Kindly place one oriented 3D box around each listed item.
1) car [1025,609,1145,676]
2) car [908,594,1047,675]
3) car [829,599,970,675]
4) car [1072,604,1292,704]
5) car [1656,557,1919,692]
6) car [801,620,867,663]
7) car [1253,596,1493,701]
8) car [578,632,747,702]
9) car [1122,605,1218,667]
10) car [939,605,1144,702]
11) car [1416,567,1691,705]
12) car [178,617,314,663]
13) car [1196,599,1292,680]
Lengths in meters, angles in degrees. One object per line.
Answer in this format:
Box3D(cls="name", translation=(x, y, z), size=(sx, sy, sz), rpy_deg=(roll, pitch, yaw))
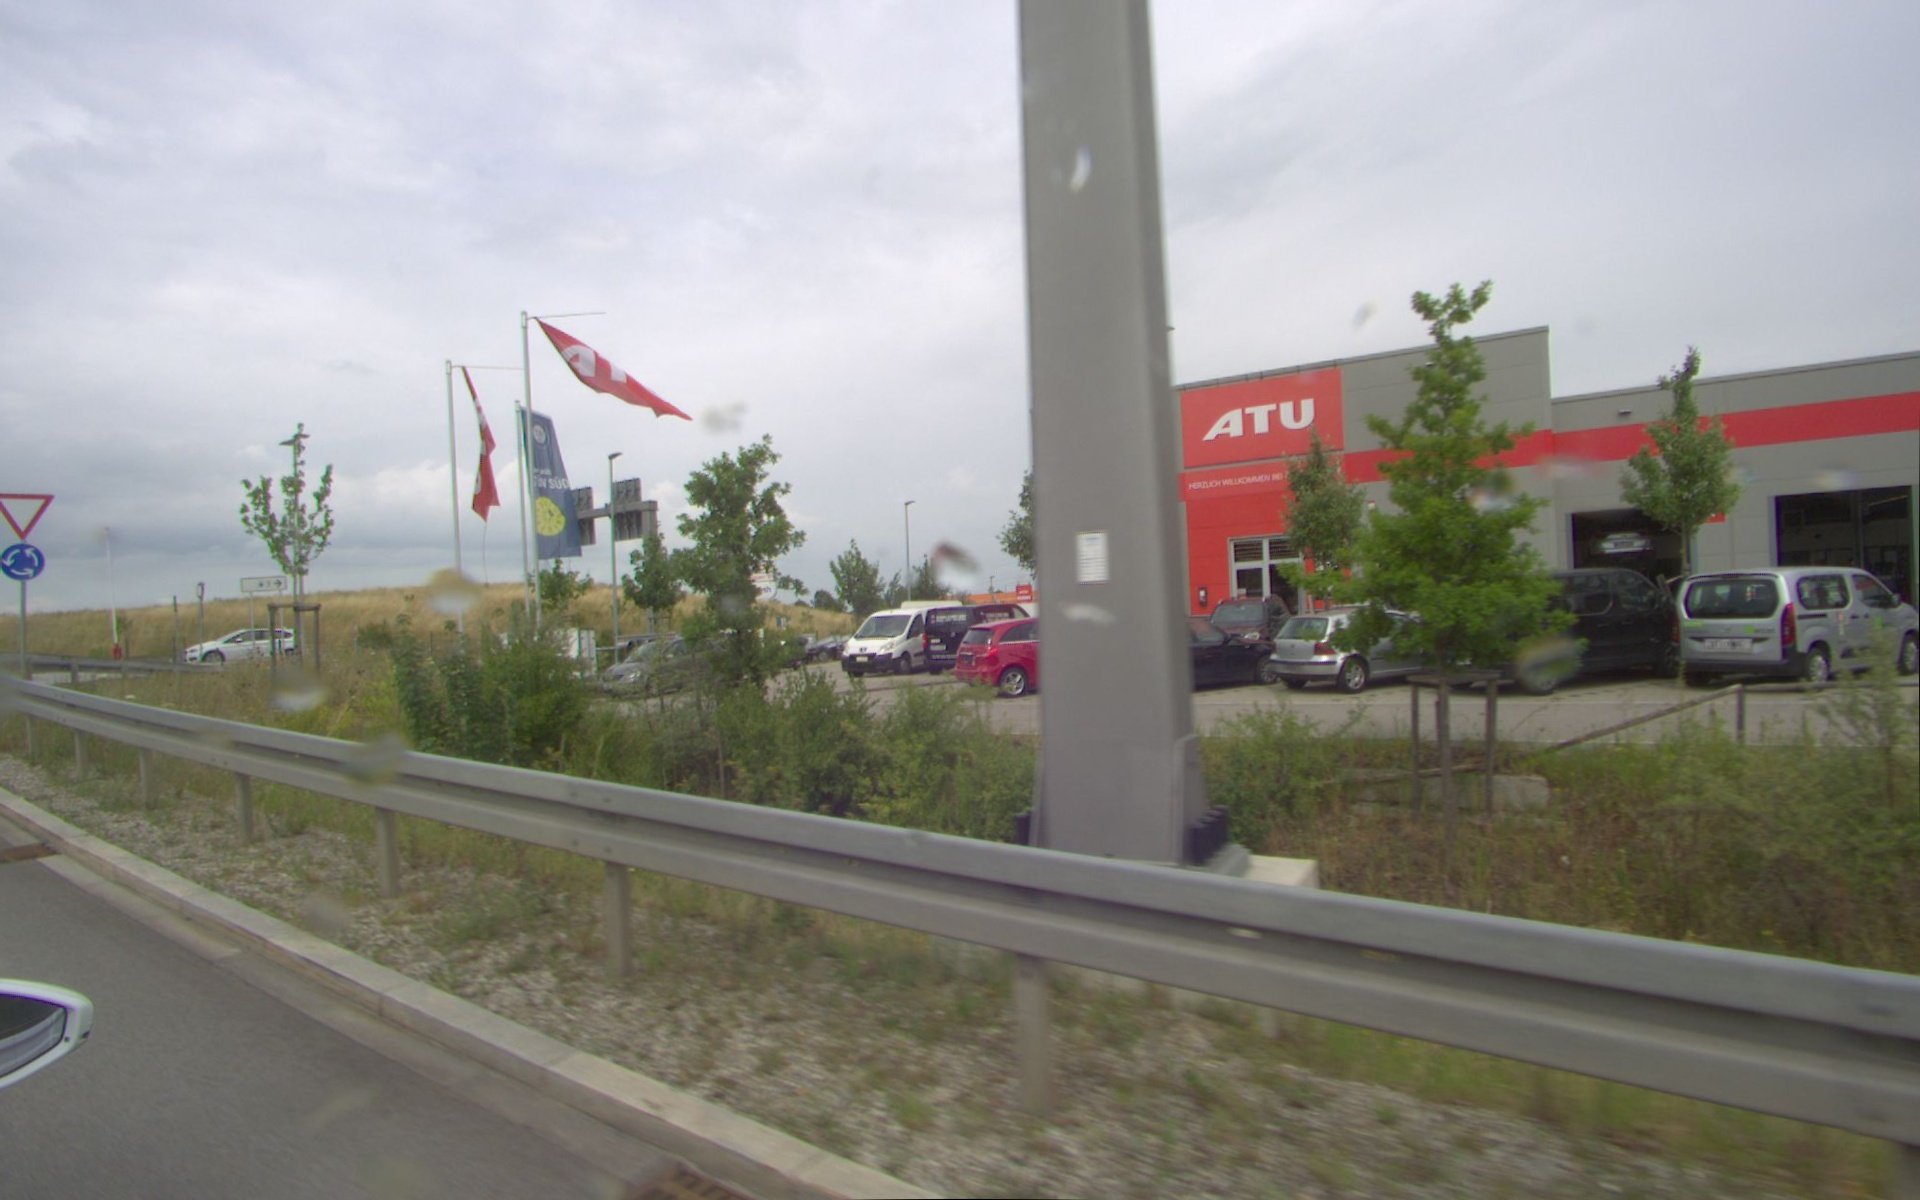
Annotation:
Box3D(cls="car", translation=(3.563, 1.171, 27.839), size=(1.885, 1.662, 4.660), rpy_deg=(-2, -3, 26))
Box3D(cls="car", translation=(0.634, 0.922, 28.753), size=(1.968, 1.999, 5.059), rpy_deg=(-2, 0, 26))
Box3D(cls="car", translation=(-1.682, 1.136, 30.032), size=(1.968, 2.072, 5.064), rpy_deg=(-2, -3, 26))
Box3D(cls="car", translation=(4.476, 1.015, 20.173), size=(4.010, 1.600, 1.765), rpy_deg=(-4, 1, -24))
Box3D(cls="car", translation=(13.225, 0.317, 15.786), size=(4.011, 1.734, 1.899), rpy_deg=(-4, 1, -25))
Box3D(cls="car", translation=(-5.238, 1.740, 41.162), size=(1.885, 1.593, 3.734), rpy_deg=(0, -4, -20))
Box3D(cls="car", translation=(7.765, 0.839, 18.877), size=(4.007, 1.601, 1.767), rpy_deg=(-4, 1, -20))
Box3D(cls="car", translation=(-8.476, 1.867, 29.036), size=(1.935, 1.697, 4.818), rpy_deg=(-2, -1, 26))
Box3D(cls="car", translation=(5.786, 0.976, 27.243), size=(1.566, 1.518, 4.188), rpy_deg=(-2, -2, 26))
Box3D(cls="car", translation=(1.777, 1.131, 21.866), size=(4.010, 1.600, 1.766), rpy_deg=(-6, 0, -24))
Box3D(cls="car", translation=(10.016, 0.541, 16.915), size=(4.008, 1.934, 1.900), rpy_deg=(-3, 1, -21))
Box3D(cls="car", translation=(-29.990, 1.639, 42.130), size=(1.765, 1.650, 4.386), rpy_deg=(-1, 1, 44))
Box3D(cls="car", translation=(7.185, 0.990, 25.107), size=(1.566, 1.859, 4.188), rpy_deg=(-2, -2, 26))
